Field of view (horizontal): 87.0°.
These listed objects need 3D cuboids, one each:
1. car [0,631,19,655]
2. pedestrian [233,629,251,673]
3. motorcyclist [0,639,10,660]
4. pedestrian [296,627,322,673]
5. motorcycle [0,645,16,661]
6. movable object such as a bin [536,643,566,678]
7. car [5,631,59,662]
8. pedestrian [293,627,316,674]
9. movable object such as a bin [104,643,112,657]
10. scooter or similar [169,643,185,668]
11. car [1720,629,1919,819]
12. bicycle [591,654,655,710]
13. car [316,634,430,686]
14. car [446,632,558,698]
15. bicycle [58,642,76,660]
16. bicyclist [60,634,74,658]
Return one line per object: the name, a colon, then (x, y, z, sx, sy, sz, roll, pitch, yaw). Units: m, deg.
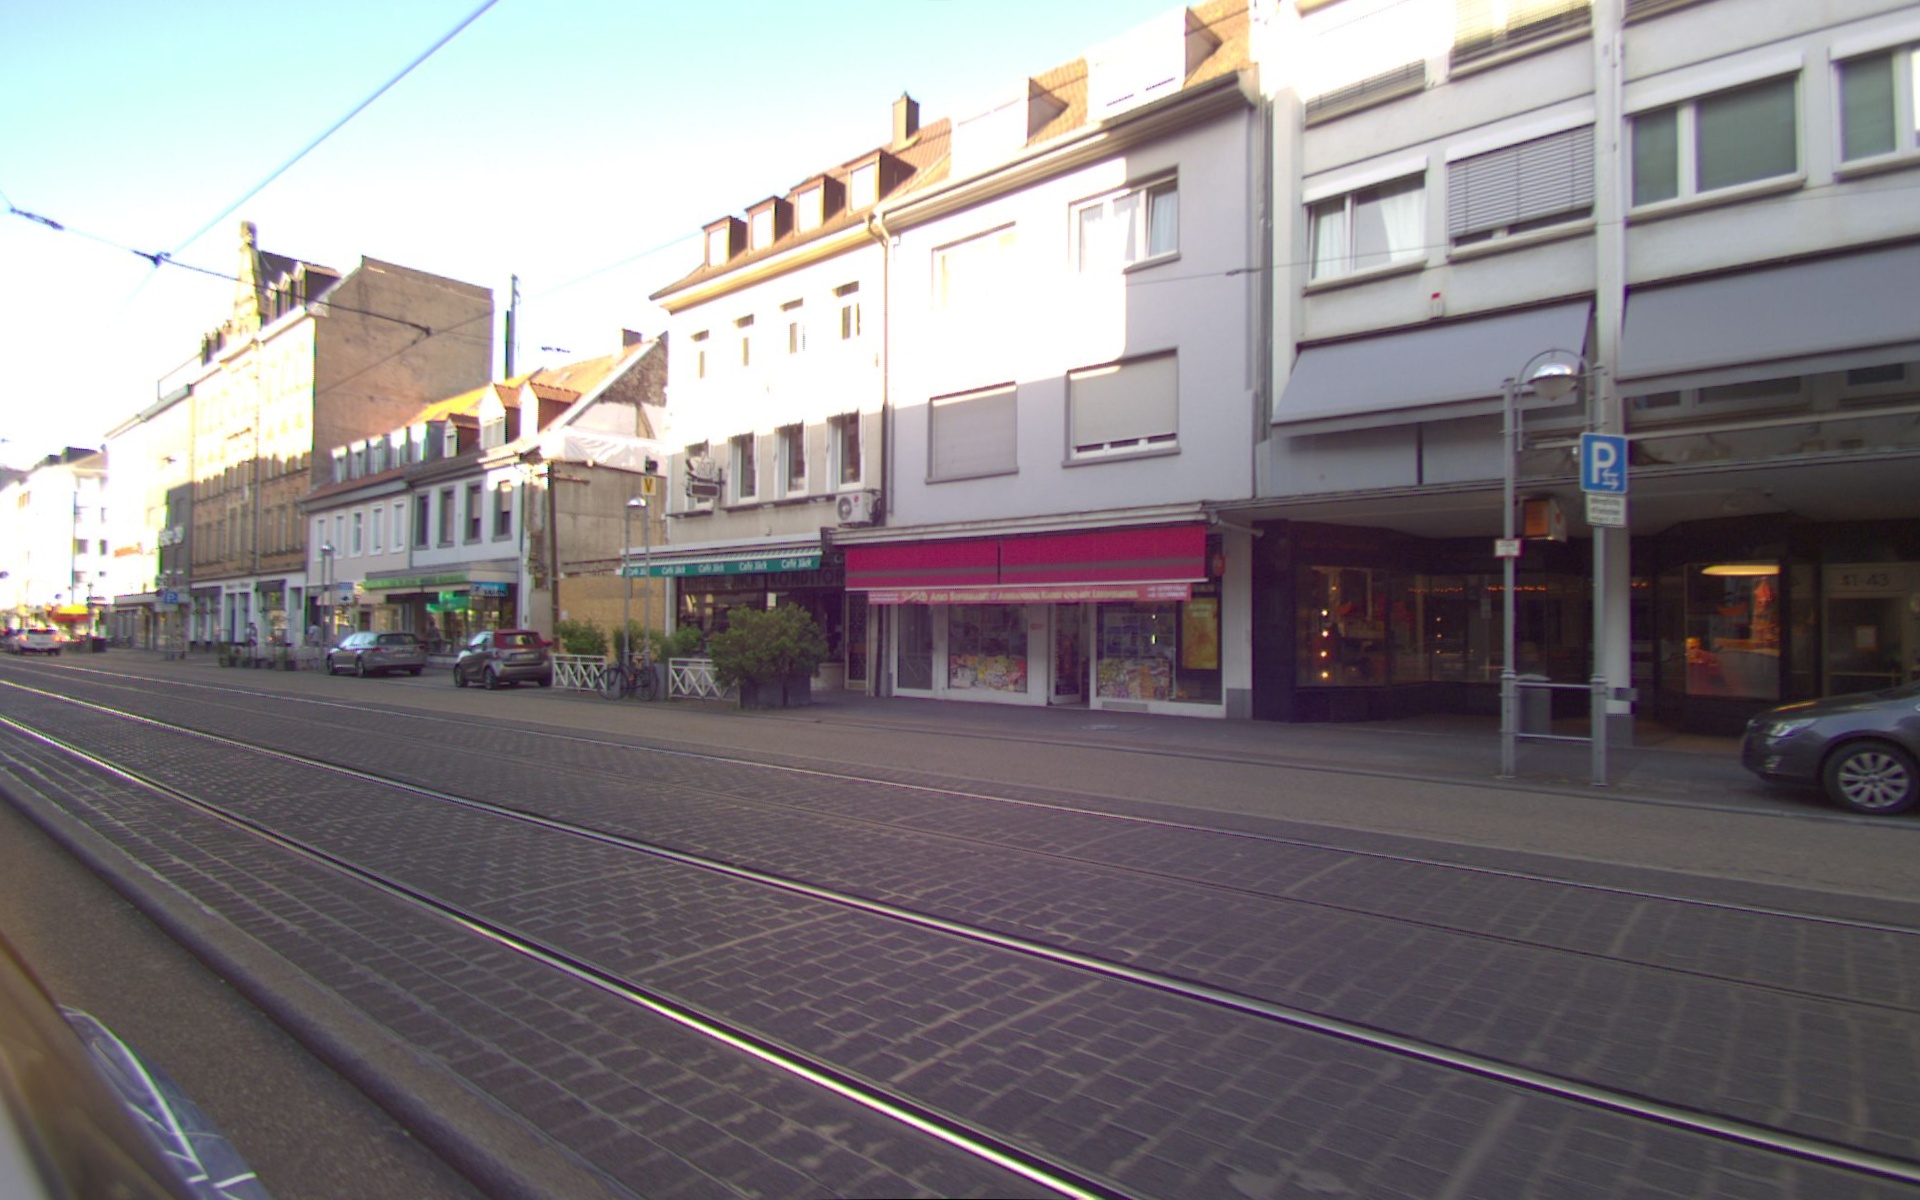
car: (-64.709, 2.869, 68.059, 3.997, 1.542, 1.645, -1, -3, 41)
pedestrian: (-30.436, 2.144, 42.909, 0.572, 1.819, 0.660, -1, 0, -38)
motorcyclist: (-61.133, 3.155, 64.643, 0.654, 1.313, 0.533, -1, -4, 40)
pedestrian: (-25.804, 1.972, 40.120, 0.580, 1.775, 0.651, -1, 0, 32)
motorcycle: (-61.161, 3.404, 64.718, 1.934, 1.000, 0.895, -1, -3, 41)
movable object such as a bin: (-13.478, 1.976, 33.333, 0.696, 1.102, 0.653, -1, 0, 40)
car: (-52.517, 2.617, 57.262, 3.674, 1.647, 1.779, -1, -3, 41)
pedestrian: (-26.403, 2.017, 40.777, 0.647, 1.863, 0.583, -1, 0, -19)
movable object such as a bin: (-56.530, 3.313, 67.152, 0.467, 0.955, 0.321, -2, -3, 40)
scooter or similar: (-39.168, 2.762, 50.645, 1.201, 1.232, 0.399, -1, 0, 41)
car: (9.461, 1.050, 8.462, 4.850, 1.535, 1.719, -1, 0, 41)
bicycle: (-7.301, 1.752, 21.883, 1.715, 1.098, 0.513, -1, 0, 41)
car: (-19.355, 1.912, 33.285, 4.760, 1.526, 1.798, -1, -2, 41)
car: (-12.265, 1.687, 27.062, 2.889, 1.616, 1.679, -1, -1, 41)
bicycle: (-60.334, 3.456, 68.374, 2.099, 1.157, 0.603, -1, 0, 41)
bicyclist: (-60.291, 3.106, 68.320, 0.861, 1.559, 0.569, -1, 0, 41)
